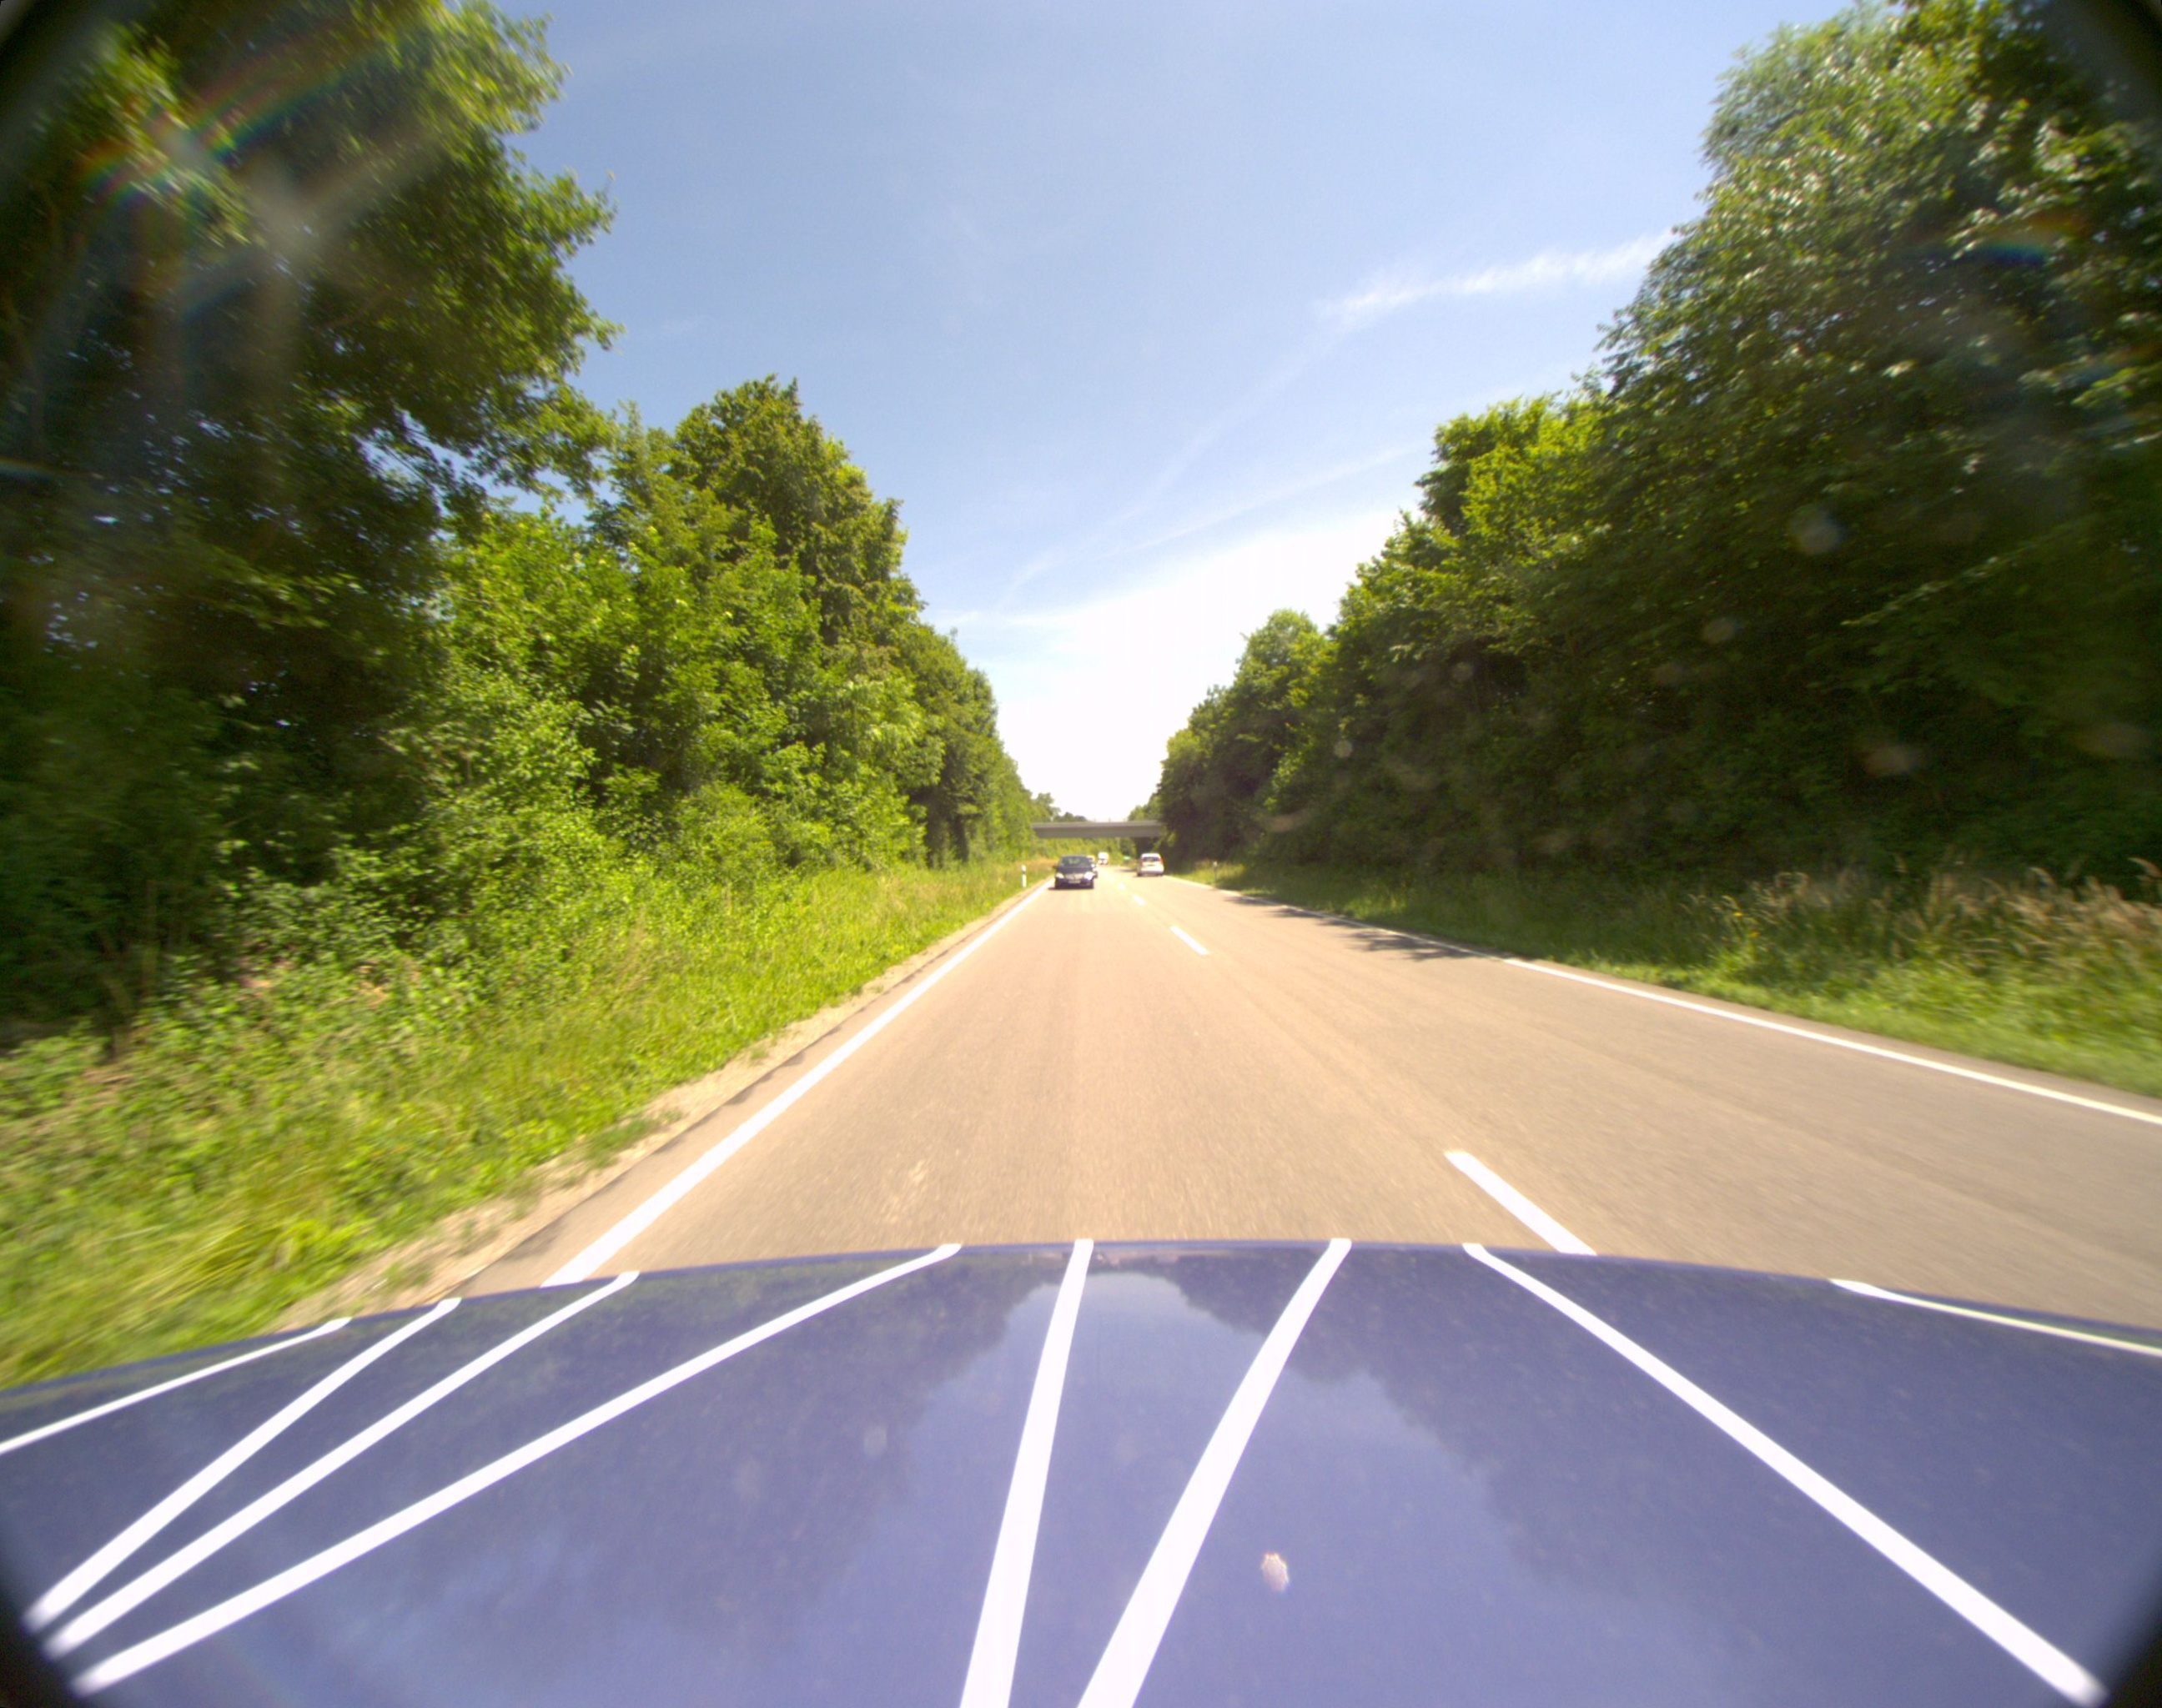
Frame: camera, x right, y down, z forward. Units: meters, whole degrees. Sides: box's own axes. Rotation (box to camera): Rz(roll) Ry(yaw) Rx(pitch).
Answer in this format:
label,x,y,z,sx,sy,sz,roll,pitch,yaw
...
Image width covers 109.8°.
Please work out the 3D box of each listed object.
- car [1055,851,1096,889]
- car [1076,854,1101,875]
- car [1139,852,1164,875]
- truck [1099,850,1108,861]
label,x,y,z,sx,sy,sz,roll,pitch,yaw
car,-0.217,0.718,35.987,1.783,1.676,4.779,0,0,1
car,0.514,0.732,54.331,1.709,1.444,5.415,-1,0,0
car,5.064,0.650,54.880,1.516,1.583,3.793,-1,0,1
truck,6.967,0.372,235.442,2.577,3.111,11.200,-4,1,2
